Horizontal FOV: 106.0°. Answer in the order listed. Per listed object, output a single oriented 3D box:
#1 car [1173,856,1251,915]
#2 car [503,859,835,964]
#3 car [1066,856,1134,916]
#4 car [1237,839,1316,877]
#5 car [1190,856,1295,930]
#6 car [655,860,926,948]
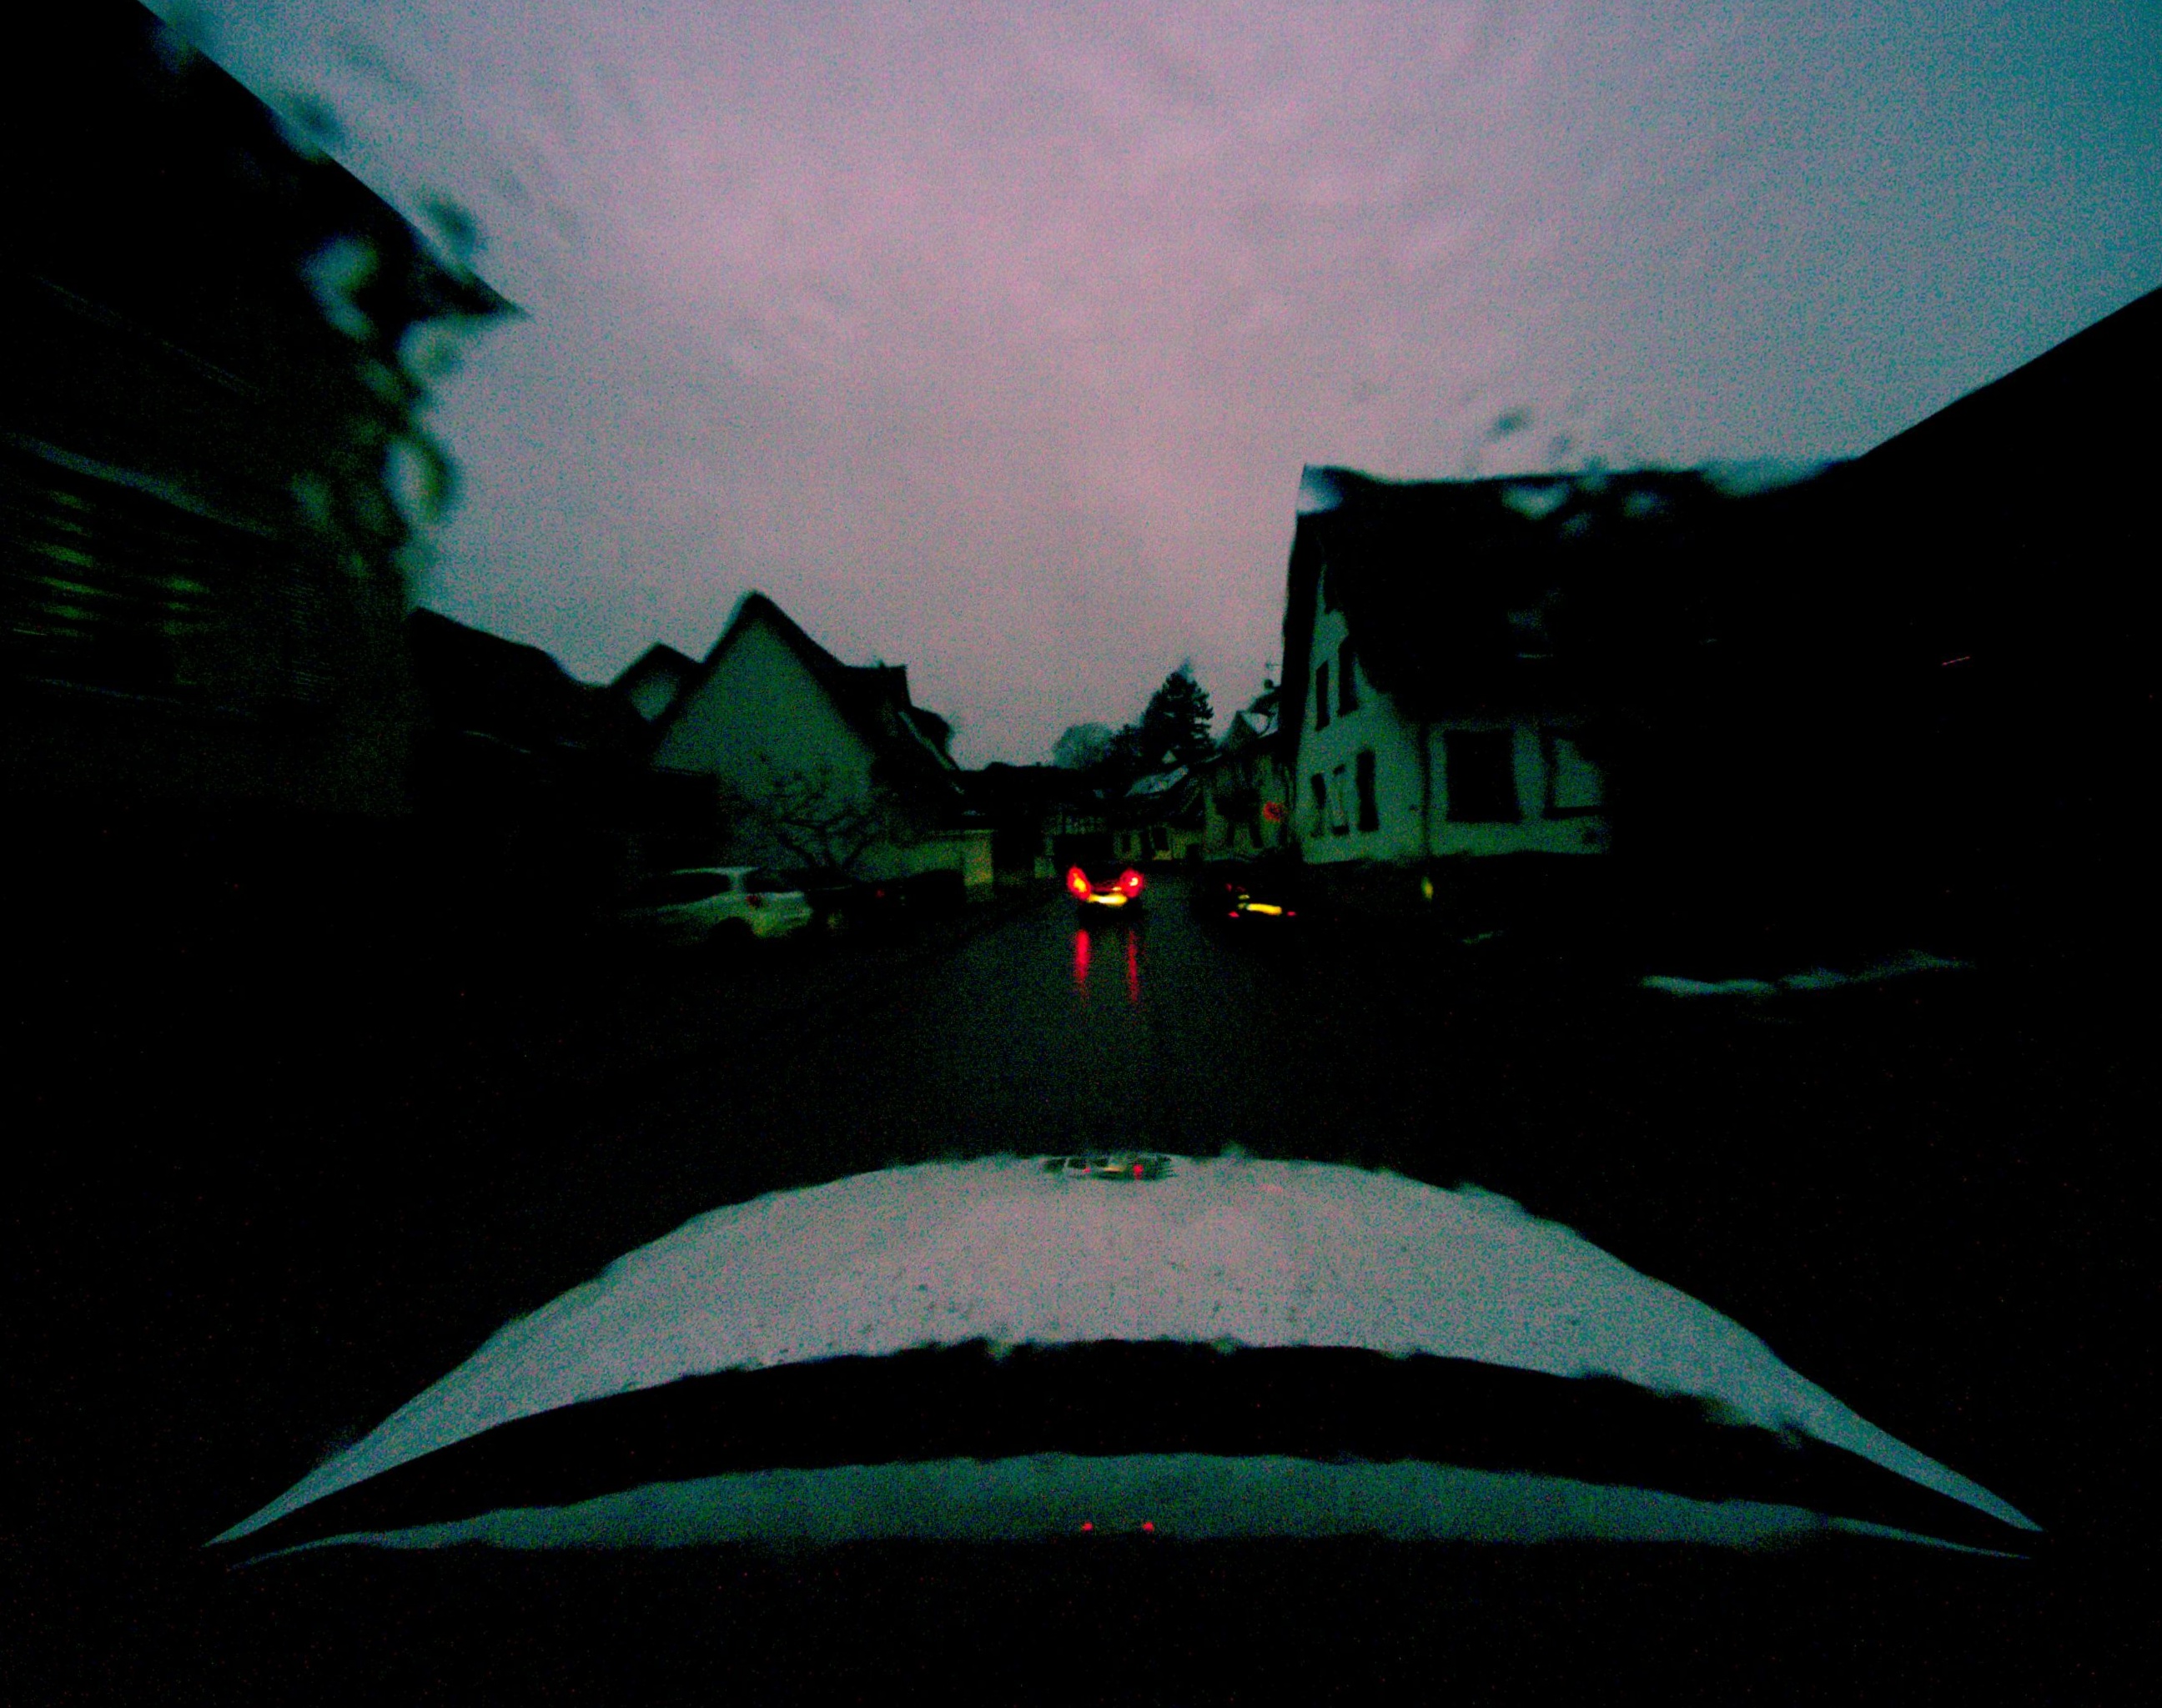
[{"bbox_3d":[3.557,0.805,22.768,1.632,1.494,4.001,0,0,1],"label":"car"},{"bbox_3d":[-6.684,0.908,13.461,4.577,1.470,1.896,-2,-1,8],"label":"car"},{"bbox_3d":[0.579,0.795,21.873,1.538,1.466,3.704,-1,0,5],"label":"car"},{"bbox_3d":[8.813,0.211,37.118,1.808,1.487,4.260,-4,-1,-12],"label":"car"},{"bbox_3d":[3.465,0.777,18.098,1.632,1.471,4.001,0,0,1],"label":"car"},{"bbox_3d":[-5.634,0.942,16.193,4.572,1.470,2.002,-2,-1,4],"label":"car"}]
